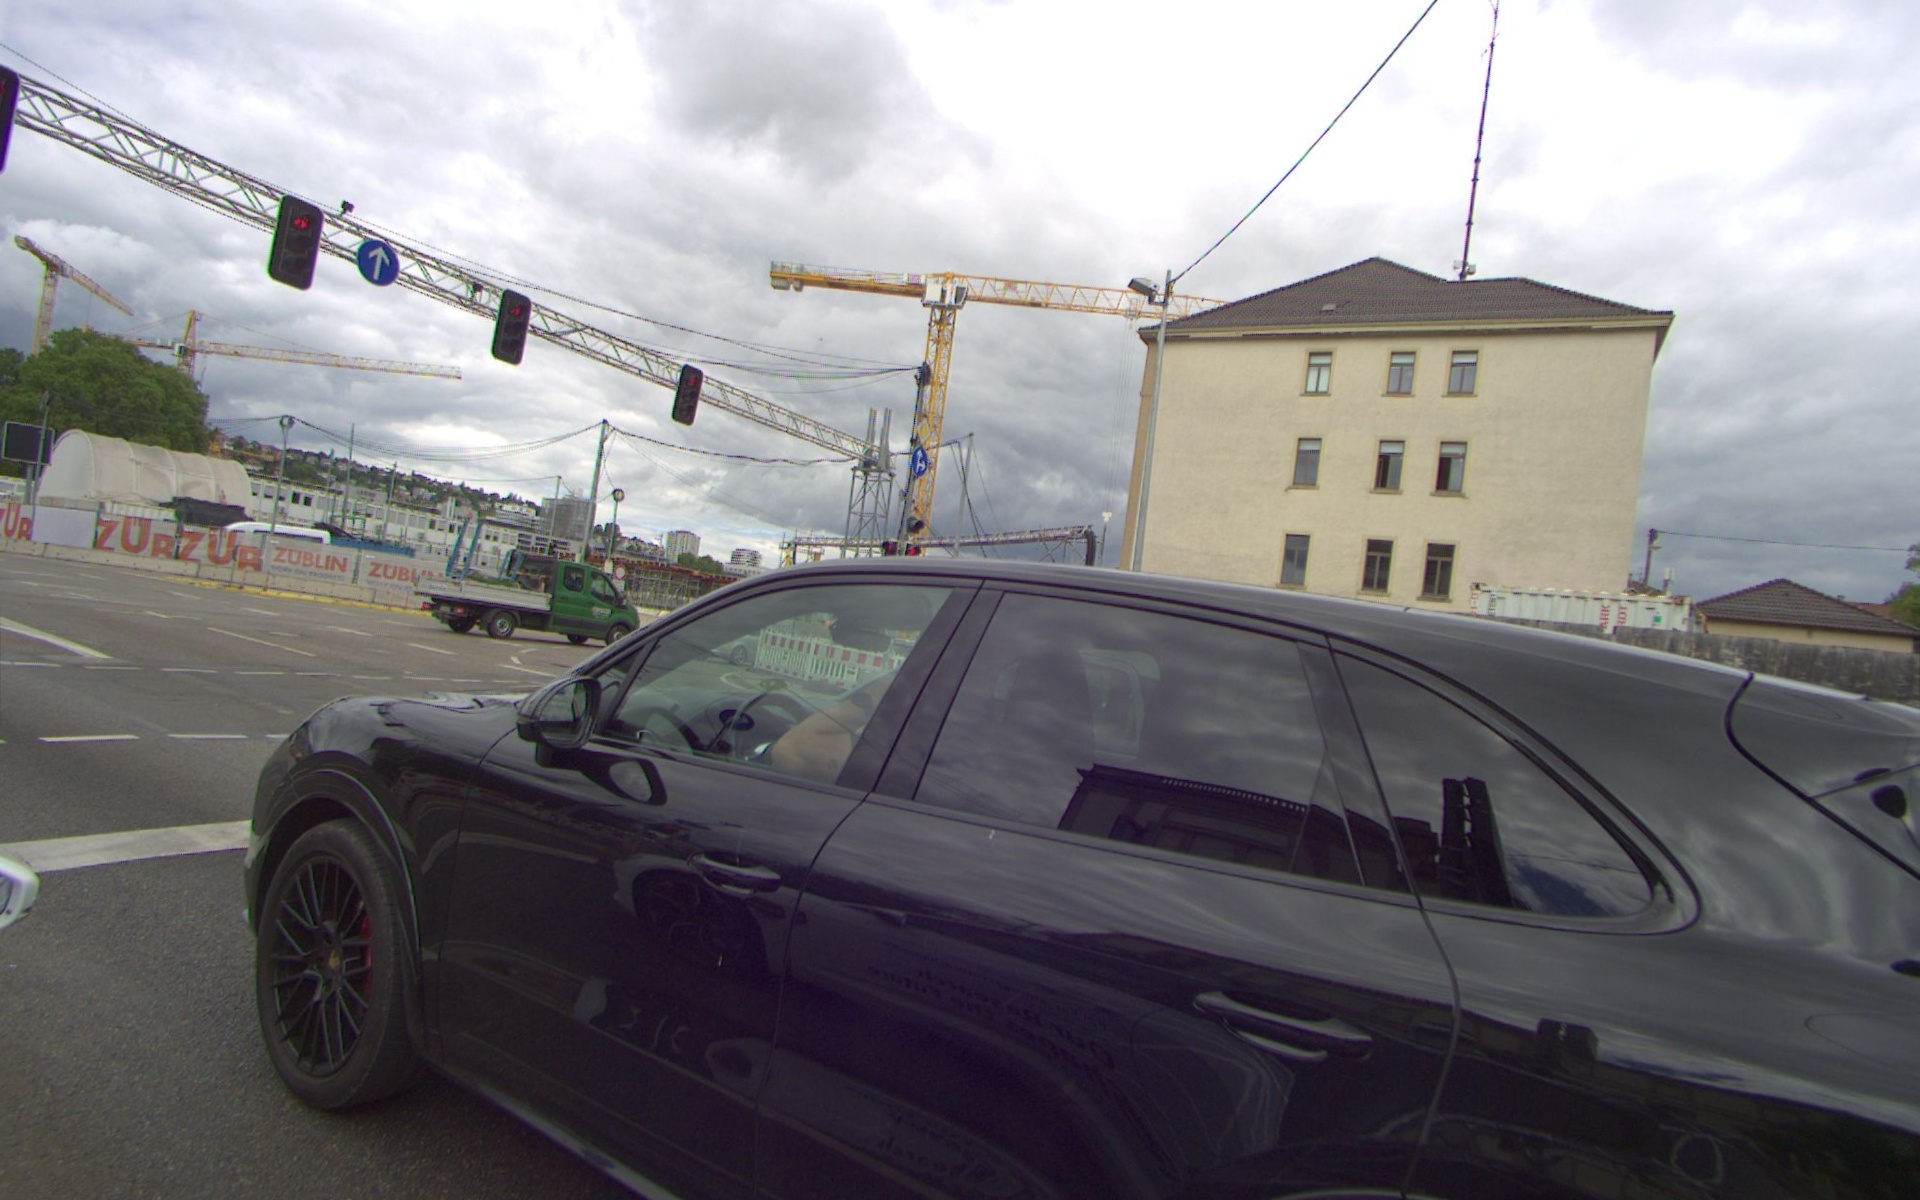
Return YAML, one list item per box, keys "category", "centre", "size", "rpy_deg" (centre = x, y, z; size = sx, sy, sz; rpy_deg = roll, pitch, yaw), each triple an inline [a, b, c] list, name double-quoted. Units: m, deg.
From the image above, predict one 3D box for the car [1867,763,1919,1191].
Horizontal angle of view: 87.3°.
- category: "car"
  centre: [5.769, 1.685, 2.568]
  size: [4.729, 1.644, 1.828]
  rpy_deg: [6, -2, 32]

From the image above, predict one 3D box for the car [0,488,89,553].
- category: "car"
  centre: [-53.994, -4.693, 56.917]
  size: [2.327, 3.087, 6.769]
  rpy_deg: [7, -2, 14]

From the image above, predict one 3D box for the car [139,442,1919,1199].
- category: "car"
  centre: [-0.044, 0.675, 2.665]
  size: [4.410, 1.735, 1.828]
  rpy_deg: [6, -2, 32]

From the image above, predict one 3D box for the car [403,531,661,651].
- category: "car"
  centre: [-10.978, -0.136, 26.355]
  size: [2.266, 2.331, 5.769]
  rpy_deg: [6, -2, 32]

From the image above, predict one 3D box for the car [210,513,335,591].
- category: "car"
  centre: [-29.572, -2.035, 43.367]
  size: [1.660, 2.692, 3.979]
  rpy_deg: [6, -2, 45]

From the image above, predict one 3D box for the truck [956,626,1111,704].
- category: "truck"
  centre: [3.740, 3.232, 48.366]
  size: [2.588, 2.835, 8.985]
  rpy_deg: [7, -3, 38]

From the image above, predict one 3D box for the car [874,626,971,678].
- category: "car"
  centre: [-1.677, 2.427, 46.504]
  size: [1.806, 1.903, 4.260]
  rpy_deg: [6, -3, 44]

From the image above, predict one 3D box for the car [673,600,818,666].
- category: "car"
  centre: [-6.866, 1.128, 32.779]
  size: [1.654, 1.643, 4.719]
  rpy_deg: [6, -2, 32]

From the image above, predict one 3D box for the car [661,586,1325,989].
- category: "car"
  centre: [0.117, 0.985, 6.662]
  size: [3.934, 1.644, 1.679]
  rpy_deg: [6, -2, 32]

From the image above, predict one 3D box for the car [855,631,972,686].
- category: "car"
  centre: [-1.742, 2.304, 39.158]
  size: [1.988, 1.643, 4.816]
  rpy_deg: [6, -2, 33]
